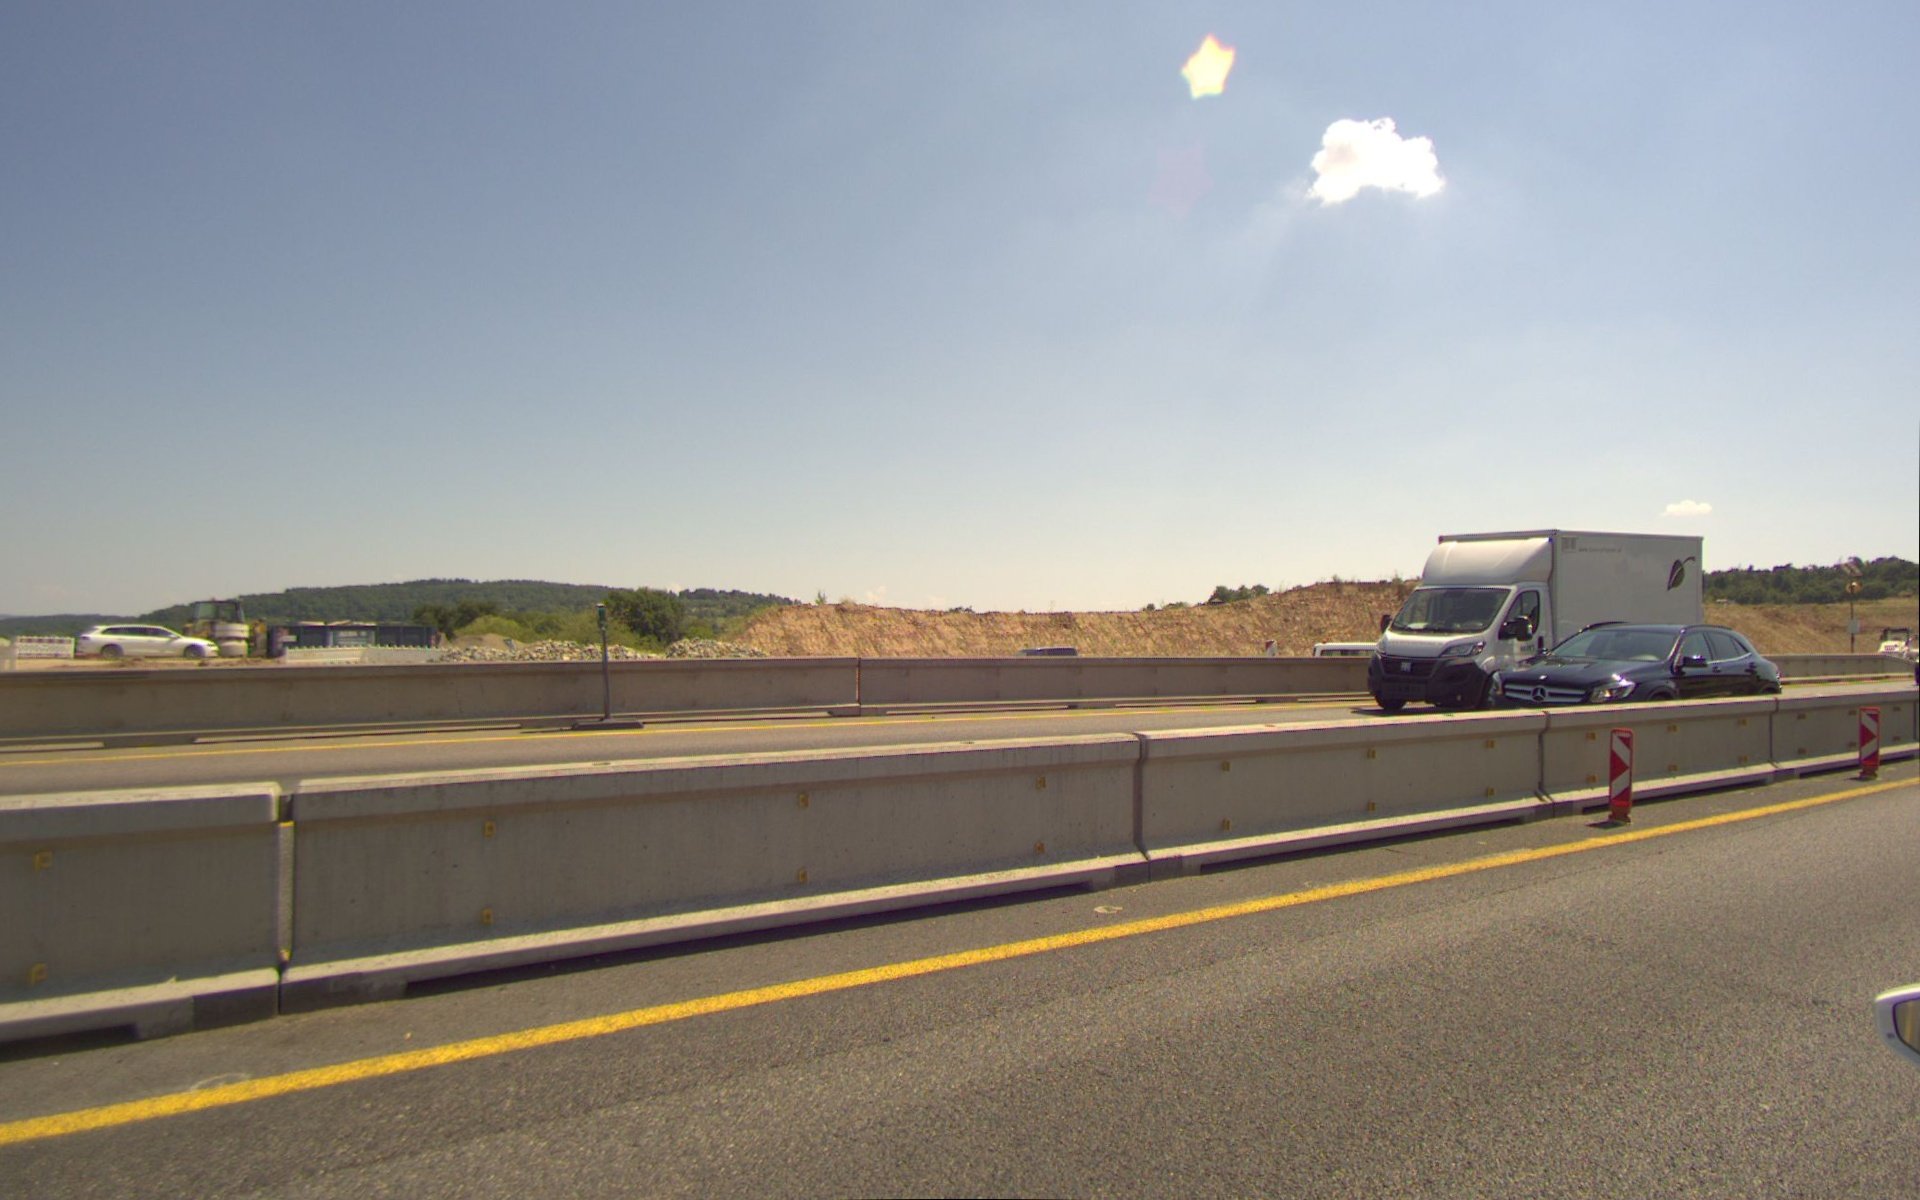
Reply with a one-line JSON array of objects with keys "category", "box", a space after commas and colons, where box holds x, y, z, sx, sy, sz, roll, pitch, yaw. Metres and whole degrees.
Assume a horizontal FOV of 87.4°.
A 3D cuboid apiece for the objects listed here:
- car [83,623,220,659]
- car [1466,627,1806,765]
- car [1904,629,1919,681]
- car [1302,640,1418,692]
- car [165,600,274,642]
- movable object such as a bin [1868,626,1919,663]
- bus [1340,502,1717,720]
[{"category": "car", "box": [-34.003, 1.726, 42.400, 4.404, 1.428, 1.600, 2, -1, -37]}, {"category": "car", "box": [8.509, 1.085, 12.578, 4.346, 1.433, 1.800, 1, -1, -30]}, {"category": "car", "box": [28.956, 1.583, 28.876, 4.601, 1.442, 1.809, 2, -1, -35]}, {"category": "car", "box": [12.432, 2.004, 31.259, 3.146, 1.474, 1.544, 0, -1, 32]}, {"category": "car", "box": [-35.439, 1.013, 48.141, 1.746, 1.906, 3.976, 0, -2, 44]}, {"category": "movable object such as a bin", "box": [65.507, 3.060, 70.054, 6.675, 2.493, 1.691, 2, -1, -34]}, {"category": "bus", "box": [9.991, 0.251, 17.395, 7.141, 3.167, 2.339, 1, -1, -29]}]
